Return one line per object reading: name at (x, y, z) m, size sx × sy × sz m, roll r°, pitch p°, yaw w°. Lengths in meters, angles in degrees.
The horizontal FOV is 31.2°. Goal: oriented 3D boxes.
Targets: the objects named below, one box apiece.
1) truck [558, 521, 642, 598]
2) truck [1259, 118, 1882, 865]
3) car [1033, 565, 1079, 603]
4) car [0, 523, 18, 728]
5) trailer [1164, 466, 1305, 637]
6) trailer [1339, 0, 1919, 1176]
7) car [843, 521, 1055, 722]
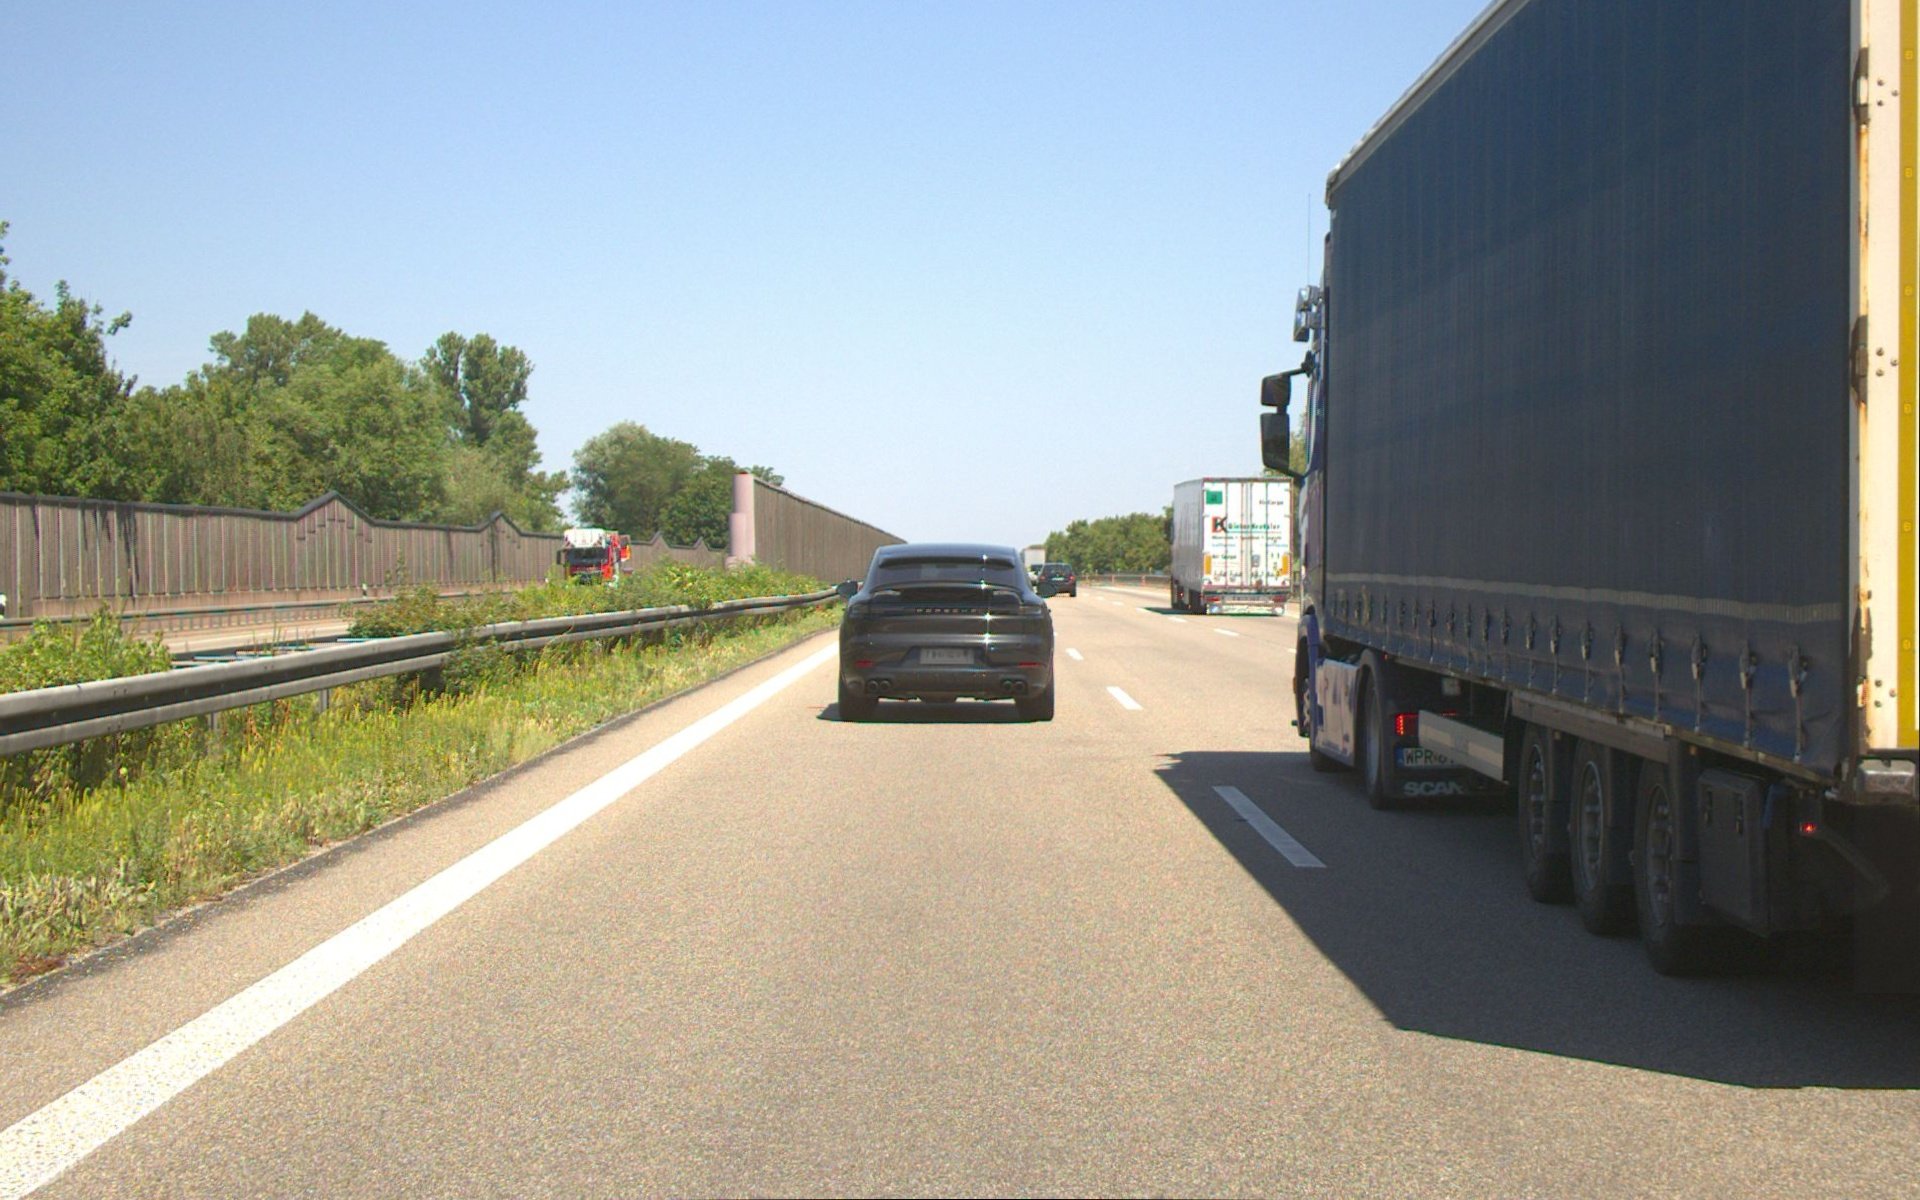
truck at (-16.991, -1.899, 162.856) m, size 2.699 × 3.480 × 10.854 m, roll 1°, pitch 1°, yaw 1°
truck at (3.695, -0.632, 22.588) m, size 2.700 × 4.104 × 6.991 m, roll 1°, pitch 0°, yaw -1°
car at (4.196, -0.678, 150.344) m, size 1.903 × 1.578 × 4.304 m, roll 0°, pitch 0°, yaw 1°
car at (-9.505, 0.263, 29.165) m, size 1.782 × 1.834 × 4.559 m, roll -1°, pitch 1°, yaw -1°
trailer at (8.236, -1.448, 104.998) m, size 3.269 × 4.821 × 14.029 m, roll 1°, pitch 1°, yaw 1°
trailer at (3.666, -0.563, 15.160) m, size 2.700 × 4.104 × 12.132 m, roll 1°, pitch 1°, yaw 1°
car at (-0.141, 0.167, 32.687) m, size 1.880 × 1.786 × 4.000 m, roll 0°, pitch 1°, yaw -1°
